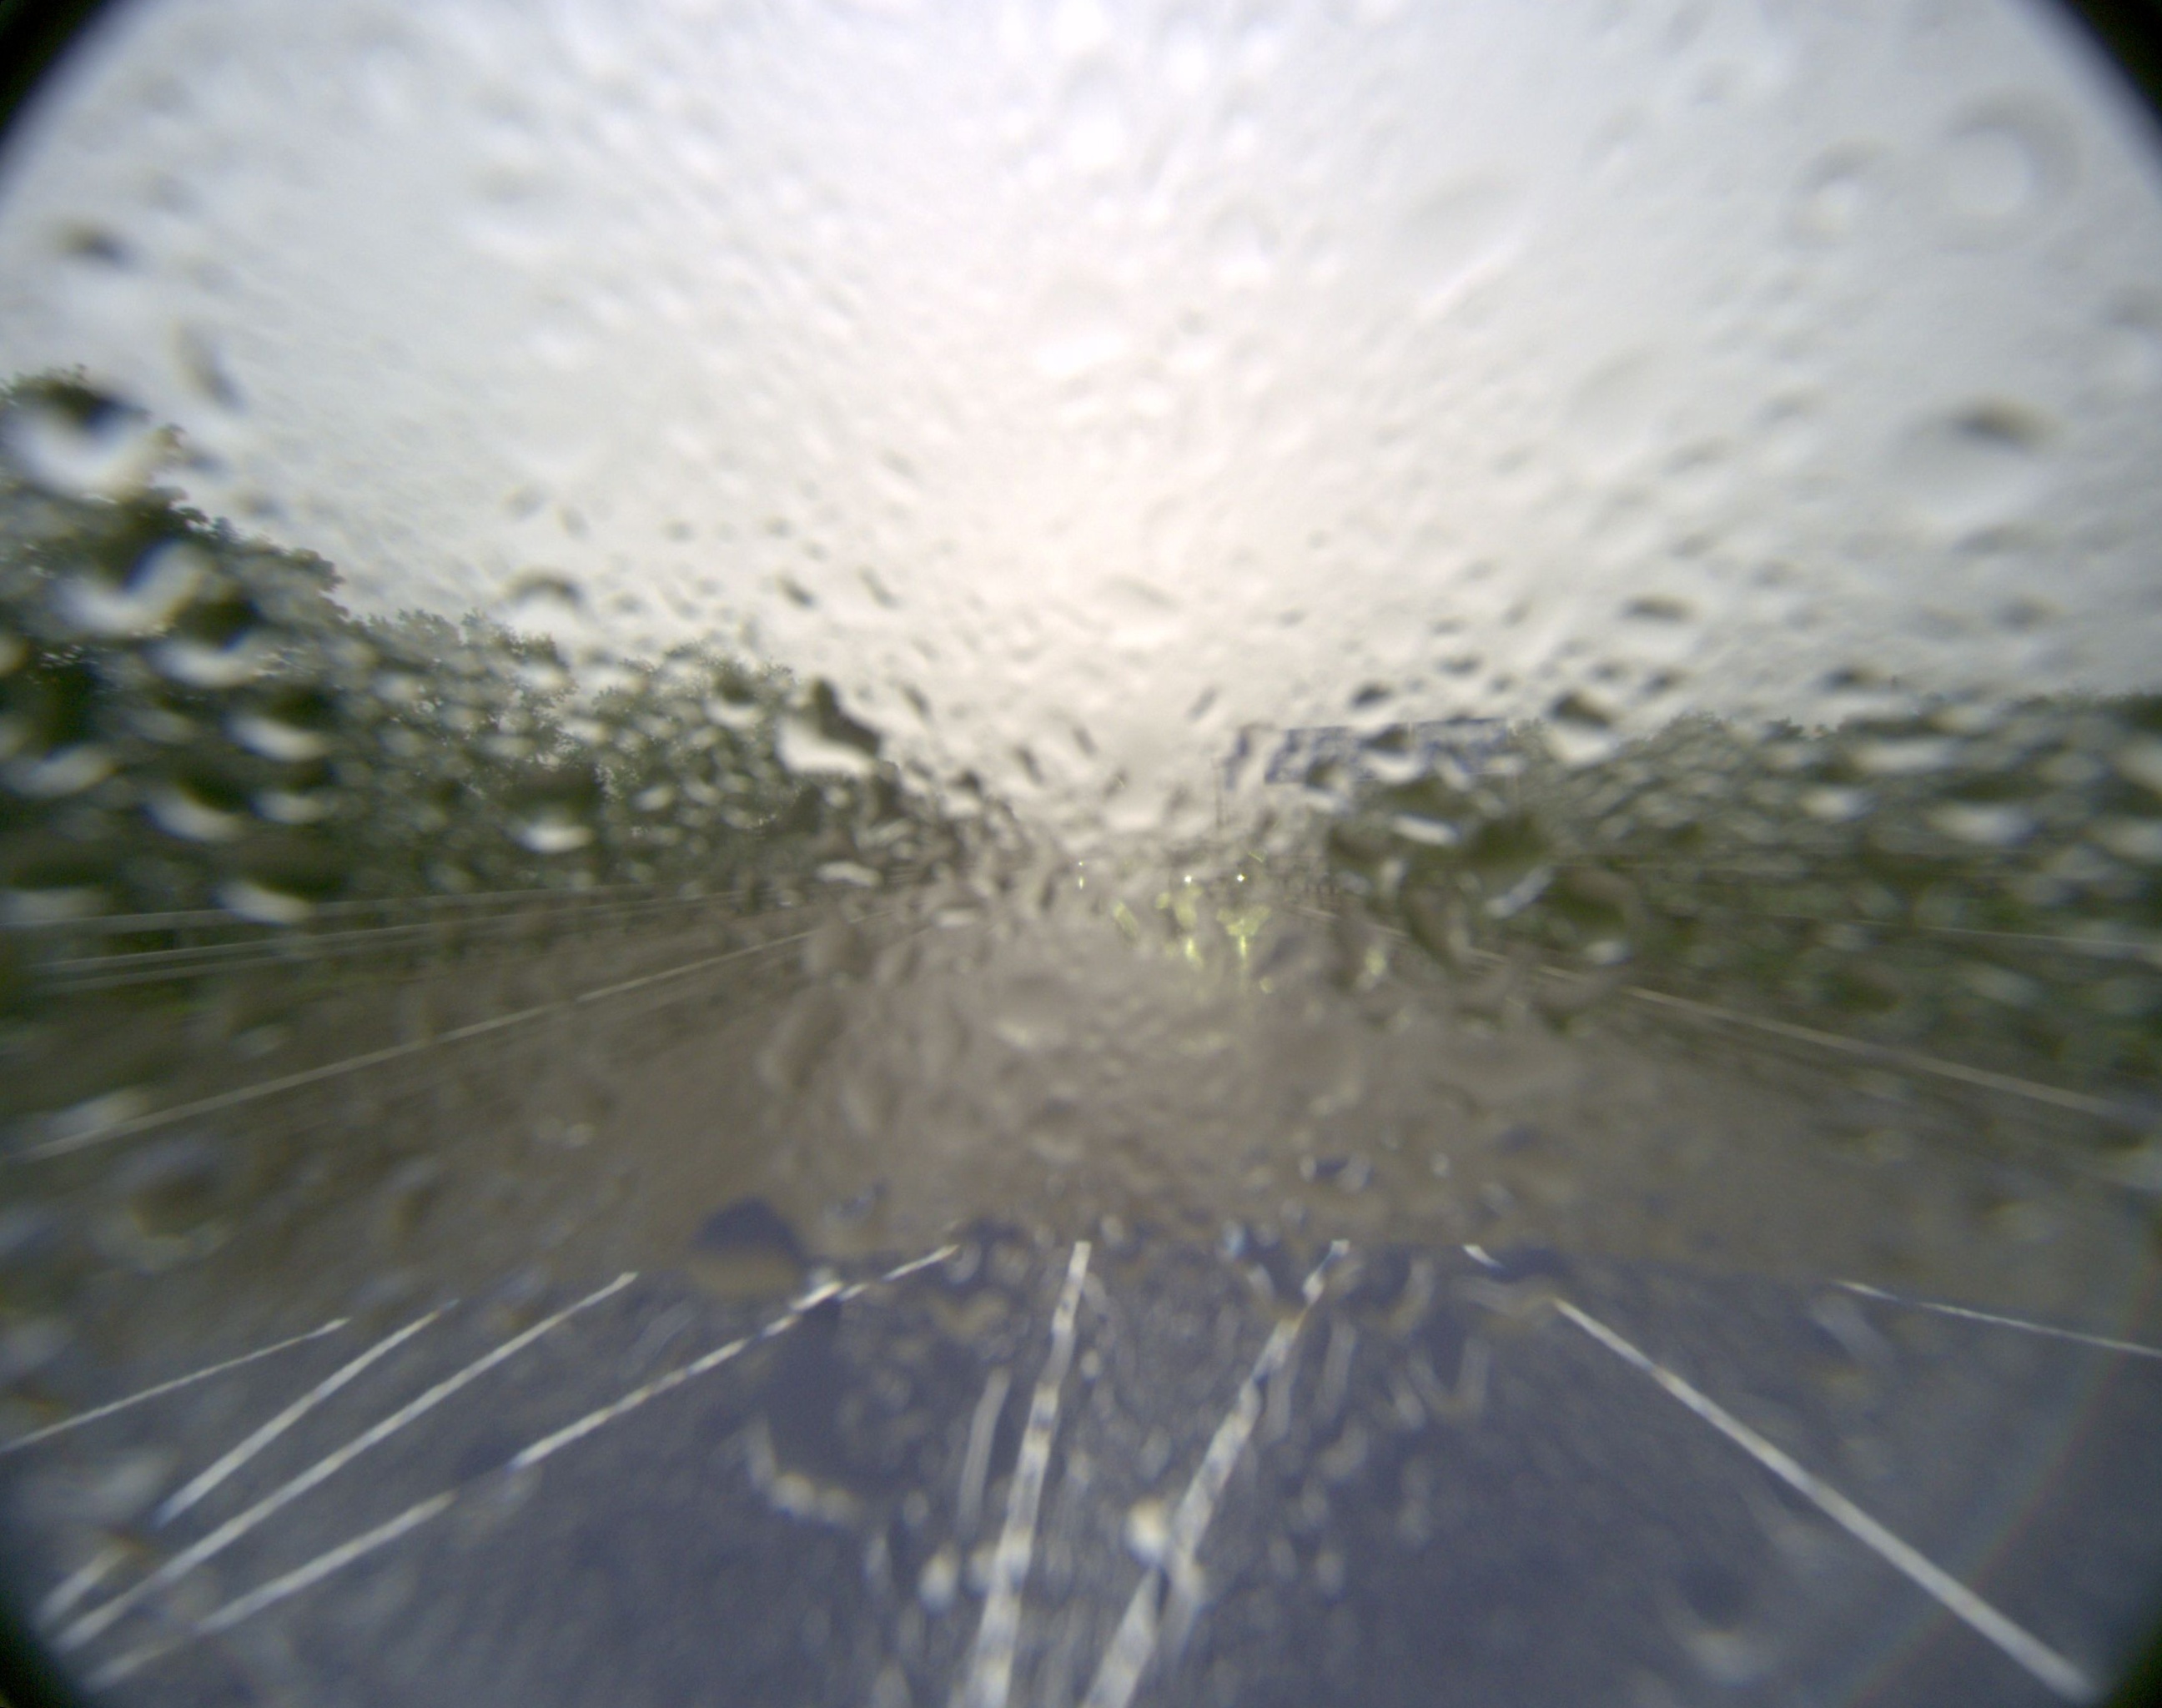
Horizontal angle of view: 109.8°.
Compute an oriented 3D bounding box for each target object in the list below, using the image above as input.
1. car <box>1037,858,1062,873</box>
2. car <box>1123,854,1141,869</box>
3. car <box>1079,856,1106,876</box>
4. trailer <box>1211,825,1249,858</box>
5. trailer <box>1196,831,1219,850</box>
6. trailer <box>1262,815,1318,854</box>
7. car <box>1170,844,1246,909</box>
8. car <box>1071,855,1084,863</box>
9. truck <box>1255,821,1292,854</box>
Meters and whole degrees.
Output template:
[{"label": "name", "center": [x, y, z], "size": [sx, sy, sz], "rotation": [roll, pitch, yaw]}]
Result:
[{"label": "car", "center": [-3.000, 1.101, 73.045], "size": [1.752, 1.205, 4.001], "rotation": [-5, 0, 4]}, {"label": "car", "center": [5.079, 0.748, 75.505], "size": [1.752, 1.369, 4.001], "rotation": [-1, 1, 4]}, {"label": "car", "center": [0.923, 0.904, 57.461], "size": [1.752, 1.406, 4.001], "rotation": [-2, 0, 4]}, {"label": "trailer", "center": [18.957, -1.497, 97.272], "size": [2.338, 3.700, 13.930], "rotation": [-5, 0, 2]}, {"label": "trailer", "center": [26.040, -2.680, 156.478], "size": [2.680, 3.388, 13.449], "rotation": [-3, 0, 2]}, {"label": "trailer", "center": [23.079, -1.979, 84.824], "size": [2.932, 3.734, 13.543], "rotation": [-5, 0, 3]}, {"label": "car", "center": [3.766, 0.612, 23.217], "size": [2.046, 1.763, 4.502], "rotation": [-1, 0, 7]}, {"label": "car", "center": [-0.507, 0.793, 125.858], "size": [1.752, 1.205, 4.001], "rotation": [-5, 0, 4]}, {"label": "truck", "center": [23.527, -1.963, 93.271], "size": [2.915, 3.698, 6.509], "rotation": [-5, 0, 3]}]
